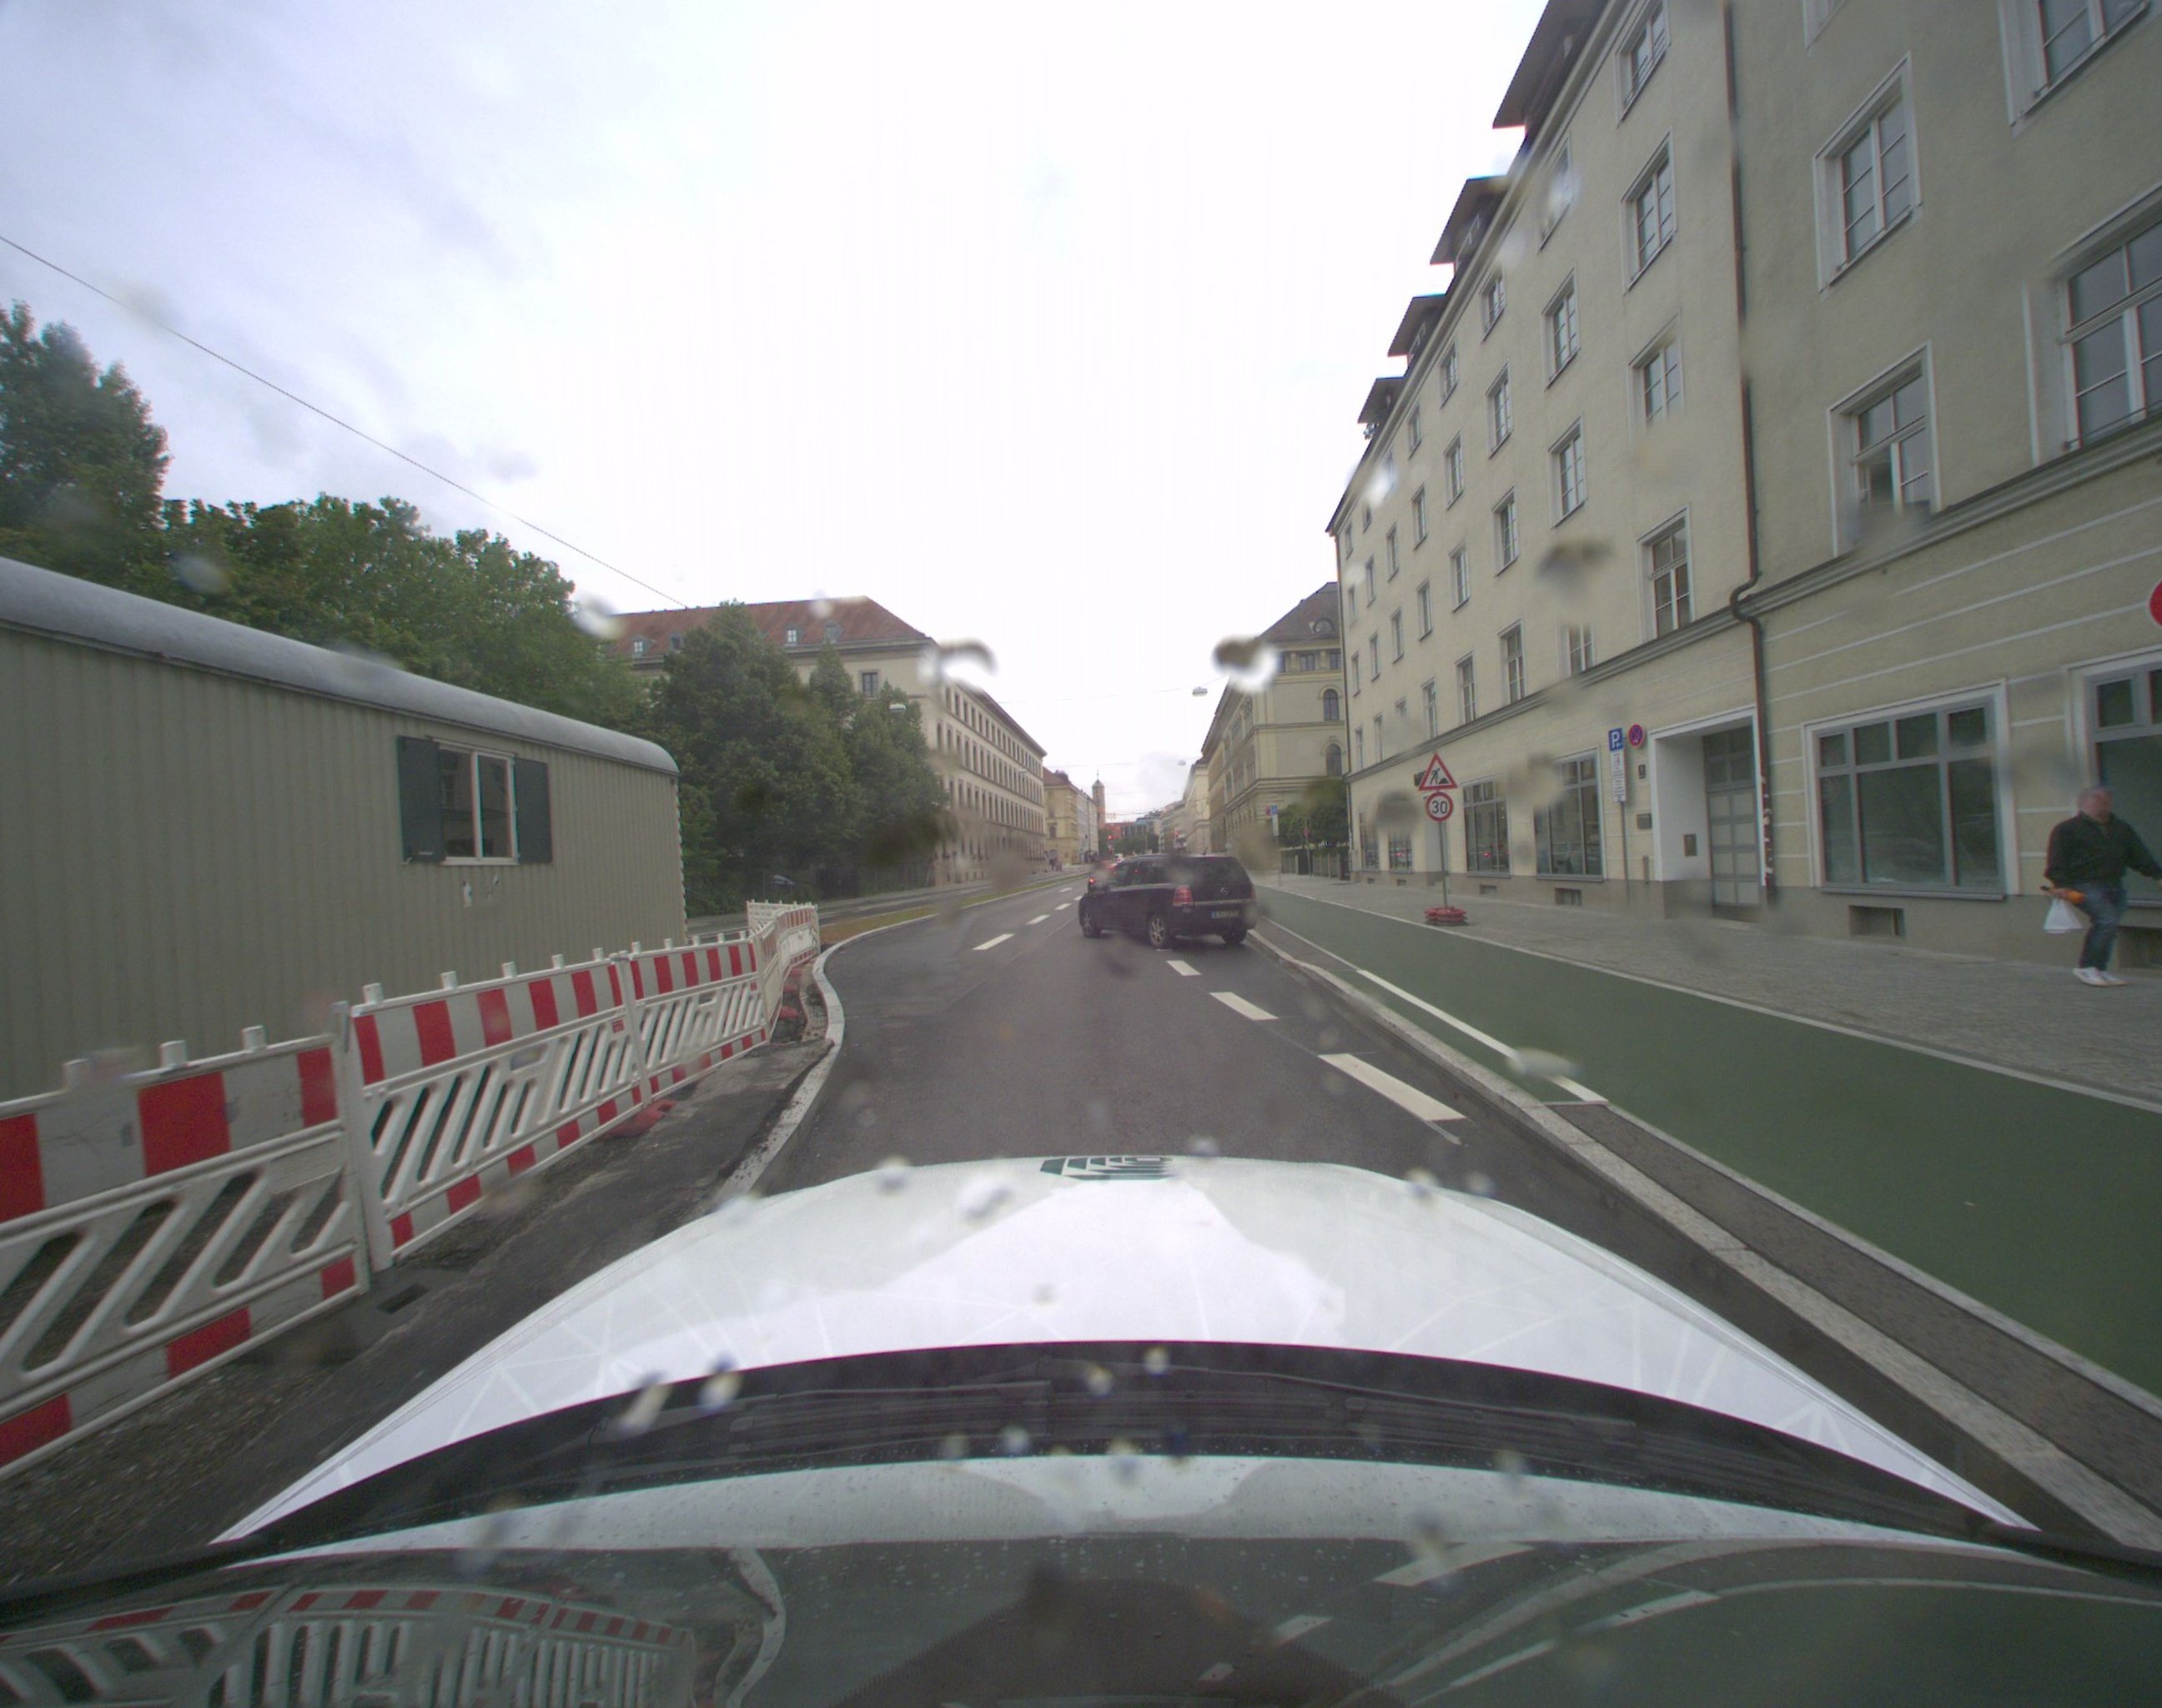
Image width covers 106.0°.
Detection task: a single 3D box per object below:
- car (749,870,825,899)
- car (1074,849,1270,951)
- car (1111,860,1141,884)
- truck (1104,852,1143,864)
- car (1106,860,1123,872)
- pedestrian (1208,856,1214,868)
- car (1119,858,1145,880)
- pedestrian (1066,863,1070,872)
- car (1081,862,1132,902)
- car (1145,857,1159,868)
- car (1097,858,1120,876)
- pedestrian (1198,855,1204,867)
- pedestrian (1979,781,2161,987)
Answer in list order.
[{"bbox_3d":[-19.199,1.984,53.295,4.242,1.649,1.807,-3,-1,5],"label":"car"},{"bbox_3d":[1.539,0.765,15.258,1.774,1.616,3.995,-1,0,-26],"label":"car"},{"bbox_3d":[2.825,1.095,50.407,1.722,1.403,4.006,-1,0,5],"label":"car"},{"bbox_3d":[8.176,0.791,156.128,7.346,2.252,2.184,-1,-1,7],"label":"truck"},{"bbox_3d":[4.390,1.519,106.488,1.984,1.444,4.006,-2,-1,6],"label":"car"},{"bbox_3d":[18.035,1.126,113.223,0.706,1.618,0.755,-2,-1,5],"label":"pedestrian"},{"bbox_3d":[3.687,1.039,58.184,1.722,1.461,4.006,-1,0,5],"label":"car"},{"bbox_3d":[-2.658,2.674,162.941,0.653,1.805,0.728,-2,-1,5],"label":"pedestrian"},{"bbox_3d":[1.064,1.066,32.187,1.722,1.403,4.006,-1,0,5],"label":"car"},{"bbox_3d":[10.492,1.224,120.368,1.984,1.444,4.006,-2,-1,6],"label":"car"},{"bbox_3d":[2.779,1.280,81.975,1.984,1.627,4.006,-2,-1,6],"label":"car"},{"bbox_3d":[17.523,1.006,118.764,0.706,1.618,0.755,-2,-1,5],"label":"pedestrian"},{"bbox_3d":[9.069,0.261,7.411,0.790,1.745,0.835,-3,-1,5],"label":"pedestrian"}]
